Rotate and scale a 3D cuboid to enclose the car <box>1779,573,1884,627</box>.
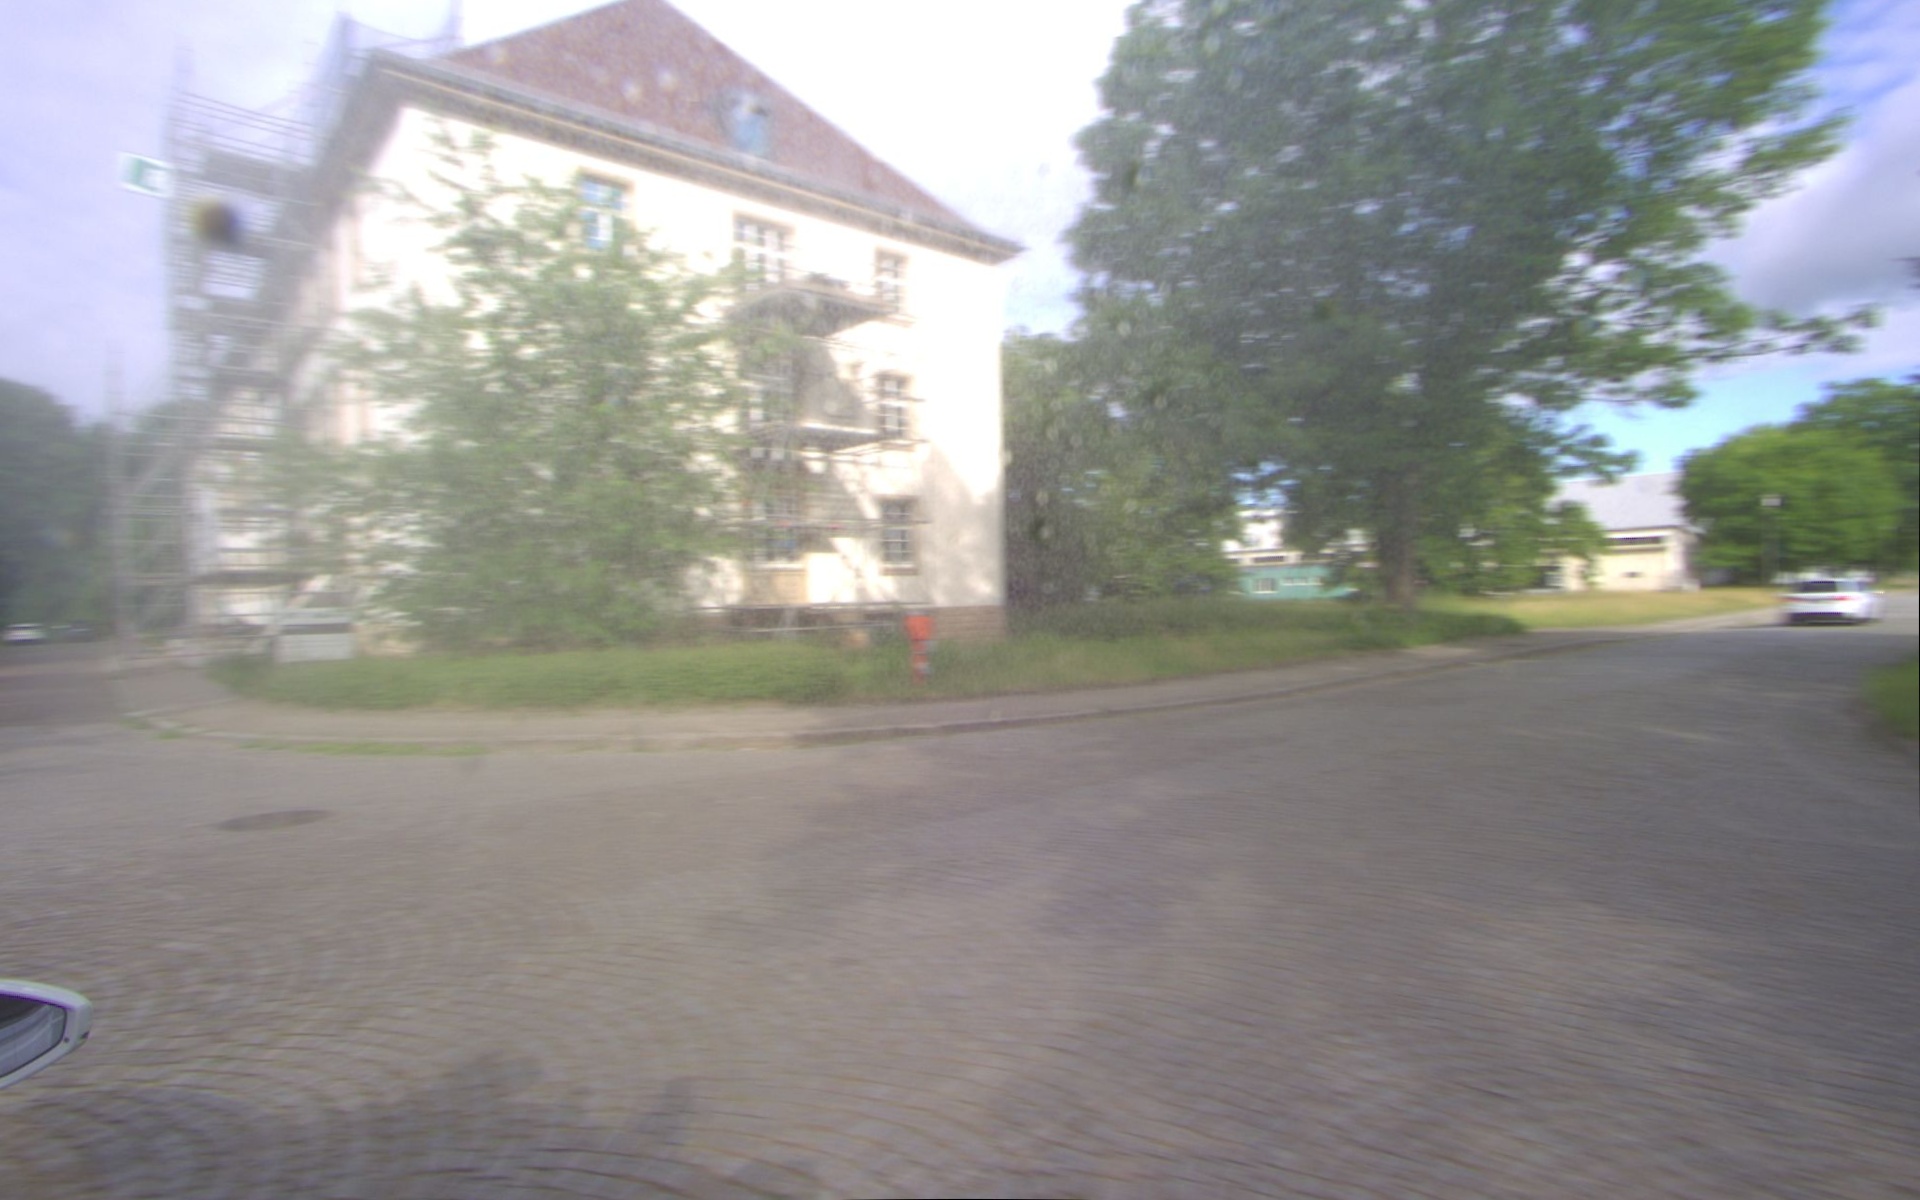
[{"bbox_3d":[26.424,-0.025,30.302,4.655,1.456,1.838,-2,0,-42],"label":"car"}]

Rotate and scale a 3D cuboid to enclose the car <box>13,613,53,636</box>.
[{"bbox_3d":[-64.861,1.740,70.032,1.988,1.567,3.921,2,-3,-43],"label":"car"}]

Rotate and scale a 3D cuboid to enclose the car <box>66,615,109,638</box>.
[{"bbox_3d":[-62.599,1.912,71.897,2.046,1.613,3.970,1,-2,-38],"label":"car"}]
